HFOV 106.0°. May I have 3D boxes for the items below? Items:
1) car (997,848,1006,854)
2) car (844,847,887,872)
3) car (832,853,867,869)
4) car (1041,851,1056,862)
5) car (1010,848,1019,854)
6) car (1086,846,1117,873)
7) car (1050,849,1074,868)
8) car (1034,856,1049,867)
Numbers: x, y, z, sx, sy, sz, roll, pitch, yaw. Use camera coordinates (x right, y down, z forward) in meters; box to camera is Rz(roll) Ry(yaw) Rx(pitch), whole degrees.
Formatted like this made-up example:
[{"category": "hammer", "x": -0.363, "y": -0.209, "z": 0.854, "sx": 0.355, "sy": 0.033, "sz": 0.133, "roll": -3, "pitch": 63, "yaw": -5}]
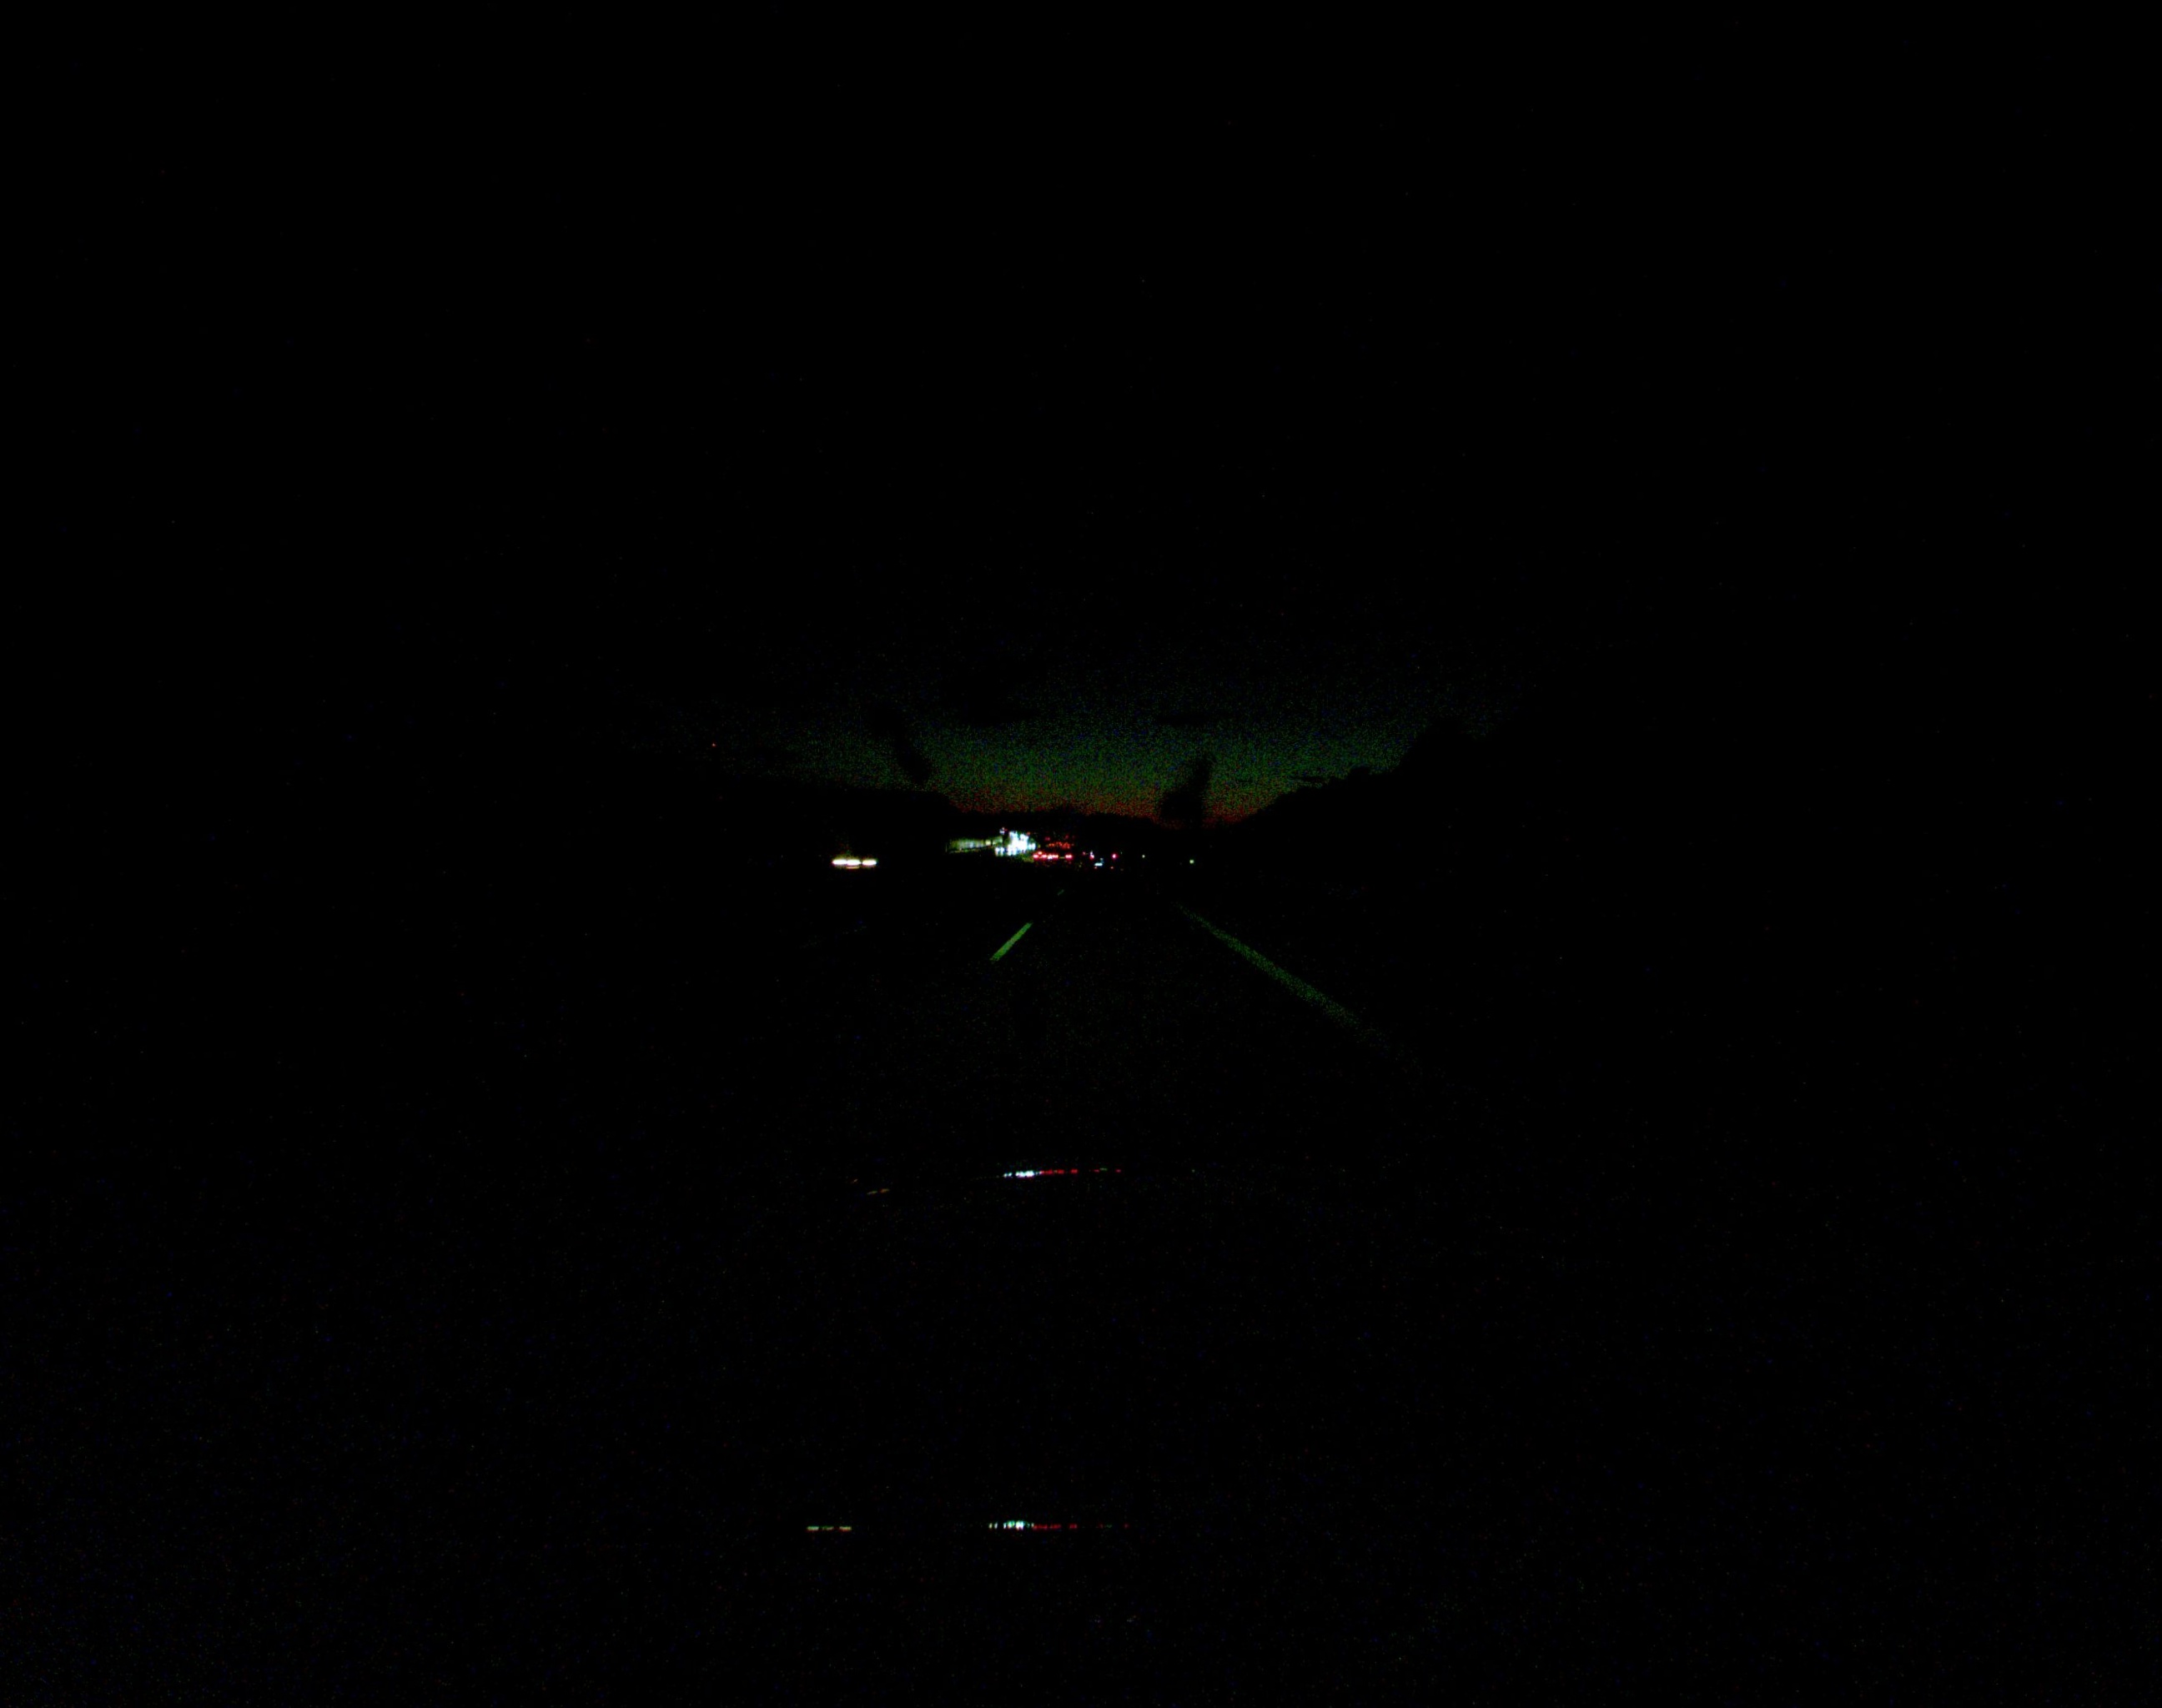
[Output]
[{"category": "car", "x": -23.300, "y": -0.822, "z": 239.614, "sx": 2.097, "sy": 1.688, "sz": 5.386, "roll": 0, "pitch": 0, "yaw": 0}, {"category": "car", "x": -17.279, "y": 0.431, "z": 65.619, "sx": 2.096, "sy": 1.885, "sz": 4.661, "roll": 0, "pitch": 0, "yaw": 2}, {"category": "car", "x": -21.433, "y": 0.640, "z": 75.441, "sx": 1.767, "sy": 1.429, "sz": 4.661, "roll": 0, "pitch": 0, "yaw": 2}, {"category": "car", "x": -4.923, "y": 0.387, "z": 124.609, "sx": 1.773, "sy": 1.487, "sz": 5.256, "roll": -1, "pitch": 1, "yaw": 2}, {"category": "car", "x": -18.730, "y": -0.854, "z": 229.101, "sx": 2.097, "sy": 1.789, "sz": 4.658, "roll": 0, "pitch": 0, "yaw": 0}, {"category": "car", "x": 1.521, "y": 0.346, "z": 62.563, "sx": 2.190, "sy": 1.955, "sz": 4.762, "roll": -1, "pitch": 1, "yaw": 0}, {"category": "car", "x": -1.756, "y": 0.487, "z": 78.973, "sx": 1.986, "sy": 1.721, "sz": 5.944, "roll": -1, "pitch": -1, "yaw": 2}, {"category": "car", "x": -5.337, "y": 1.041, "z": 111.730, "sx": 1.544, "sy": 1.431, "sz": 5.517, "roll": -1, "pitch": -1, "yaw": 2}]
